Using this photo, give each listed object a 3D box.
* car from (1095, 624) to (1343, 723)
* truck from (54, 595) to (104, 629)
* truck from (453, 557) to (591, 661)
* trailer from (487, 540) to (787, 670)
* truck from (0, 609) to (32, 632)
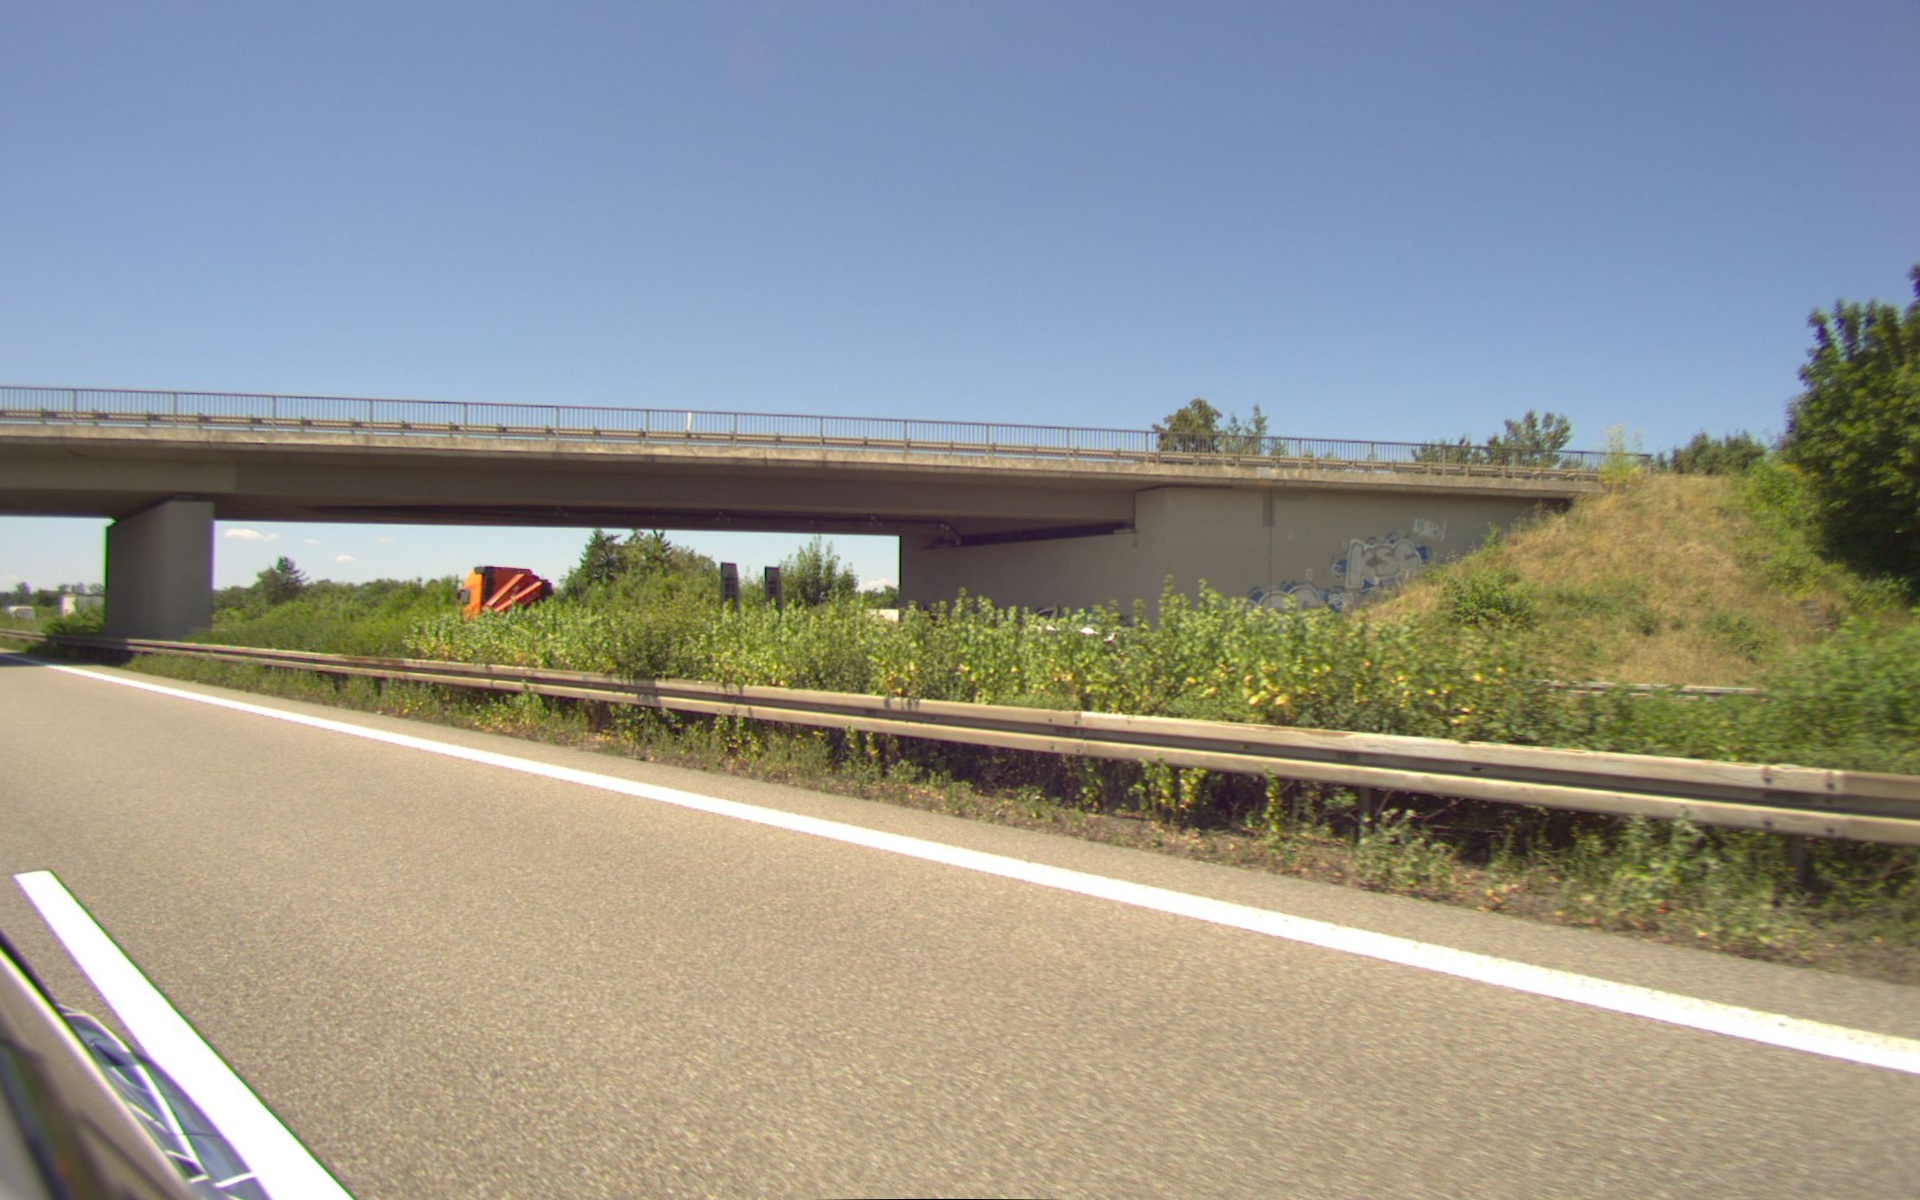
[{"bbox_3d":[4.061,1.081,16.176,3.439,1.338,1.720,-1,0,45],"label":"car"},{"bbox_3d":[-96.899,1.372,111.239,10.732,3.524,2.847,-1,0,42],"label":"truck"},{"bbox_3d":[-18.090,0.376,41.613,6.496,3.927,2.585,-1,0,41],"label":"truck"},{"bbox_3d":[-12.286,0.258,36.561,15.573,3.913,2.585,-1,0,41],"label":"trailer"},{"bbox_3d":[-102.777,2.262,110.130,6.418,2.417,1.972,-1,0,42],"label":"truck"}]
